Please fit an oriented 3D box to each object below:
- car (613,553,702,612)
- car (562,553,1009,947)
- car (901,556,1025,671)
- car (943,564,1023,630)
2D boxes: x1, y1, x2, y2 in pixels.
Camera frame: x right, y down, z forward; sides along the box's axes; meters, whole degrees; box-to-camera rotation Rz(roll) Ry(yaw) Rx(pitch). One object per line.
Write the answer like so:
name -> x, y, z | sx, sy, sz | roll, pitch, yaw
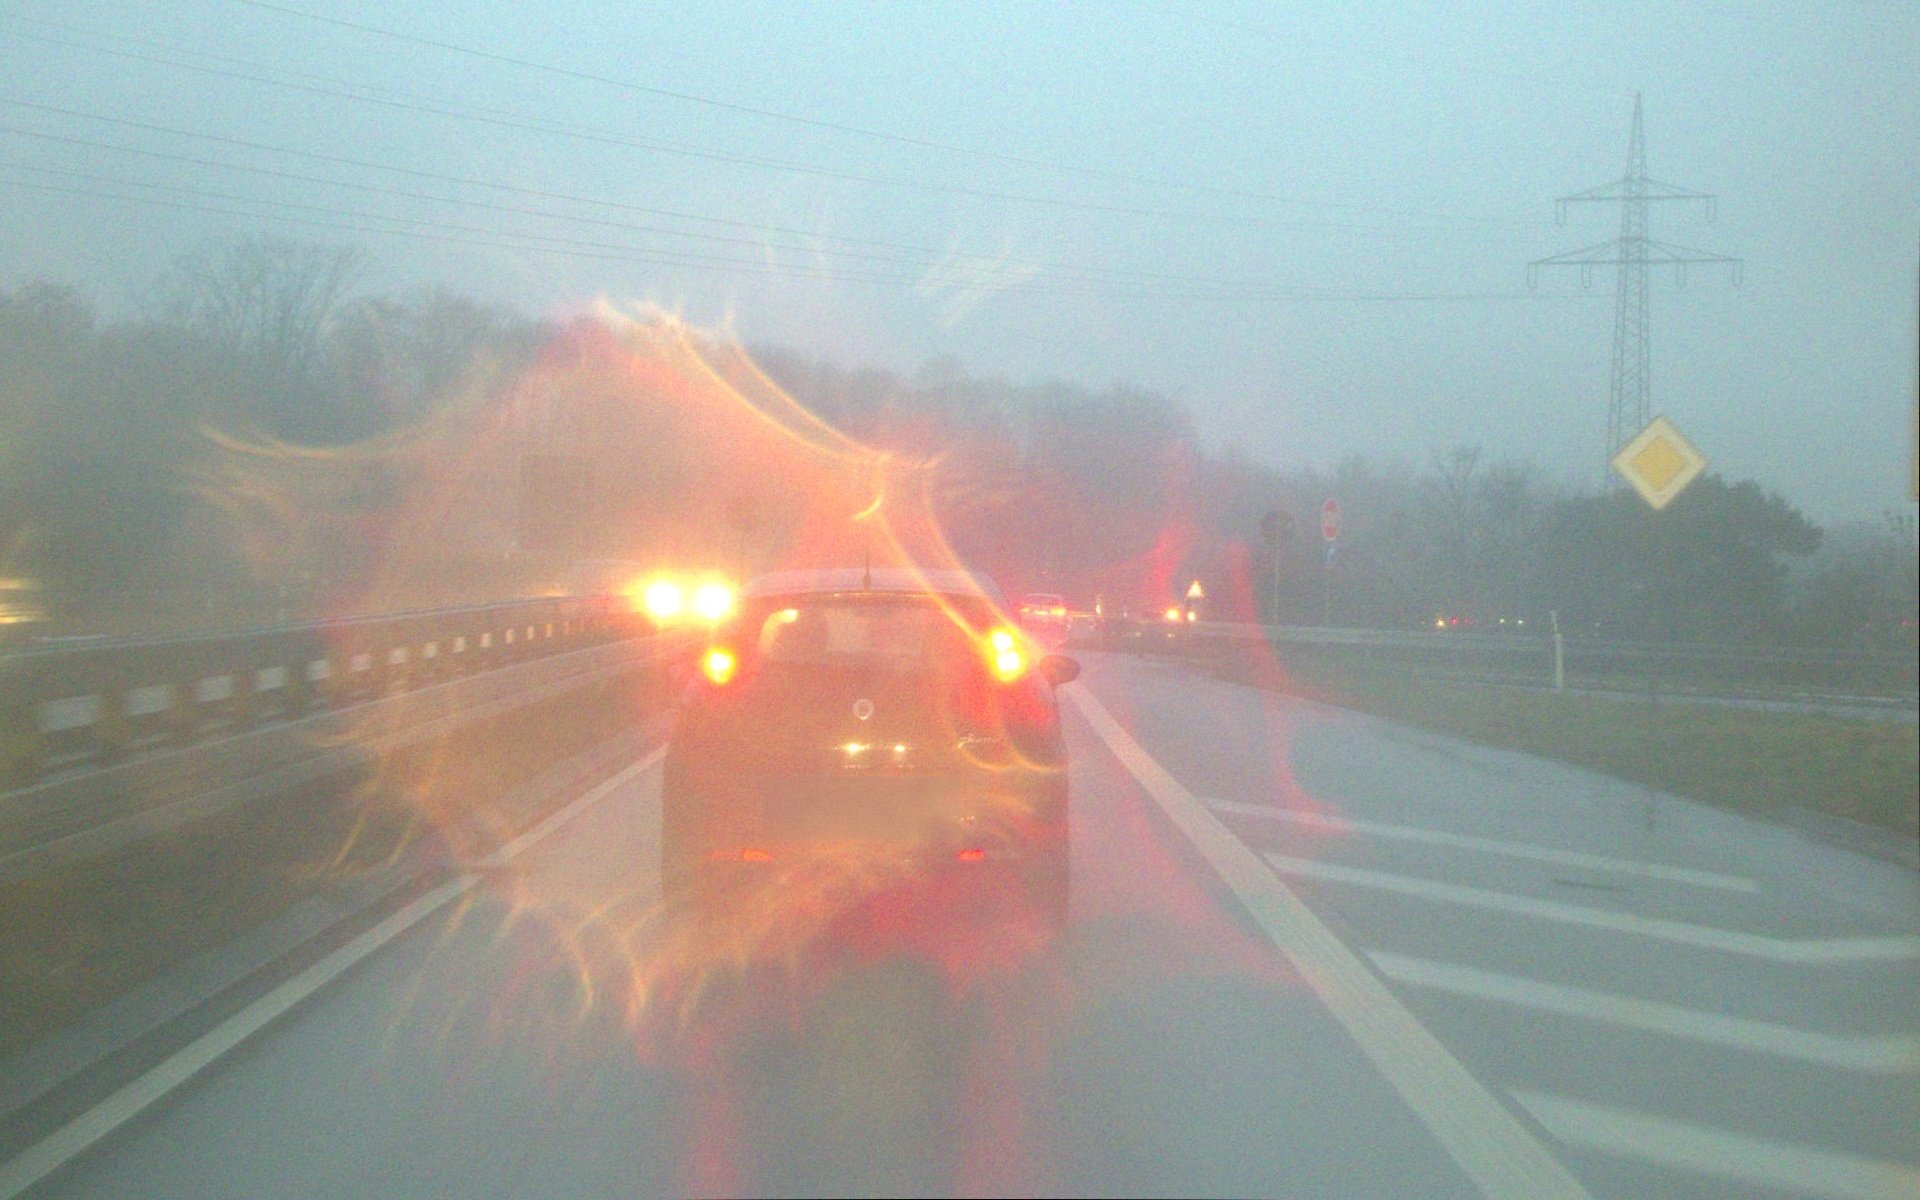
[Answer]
car -> -7.797, -0.450, 89.017 | 1.993, 1.467, 4.473 | 1, 0, -1
car -> -0.652, 0.586, 15.407 | 1.730, 1.527, 4.042 | 0, 0, 1
car -> 0.011, 0.198, 59.582 | 1.993, 1.808, 4.001 | 1, 2, -2
car -> 0.662, -0.081, 95.811 | 1.946, 1.739, 3.999 | 1, 0, 4
